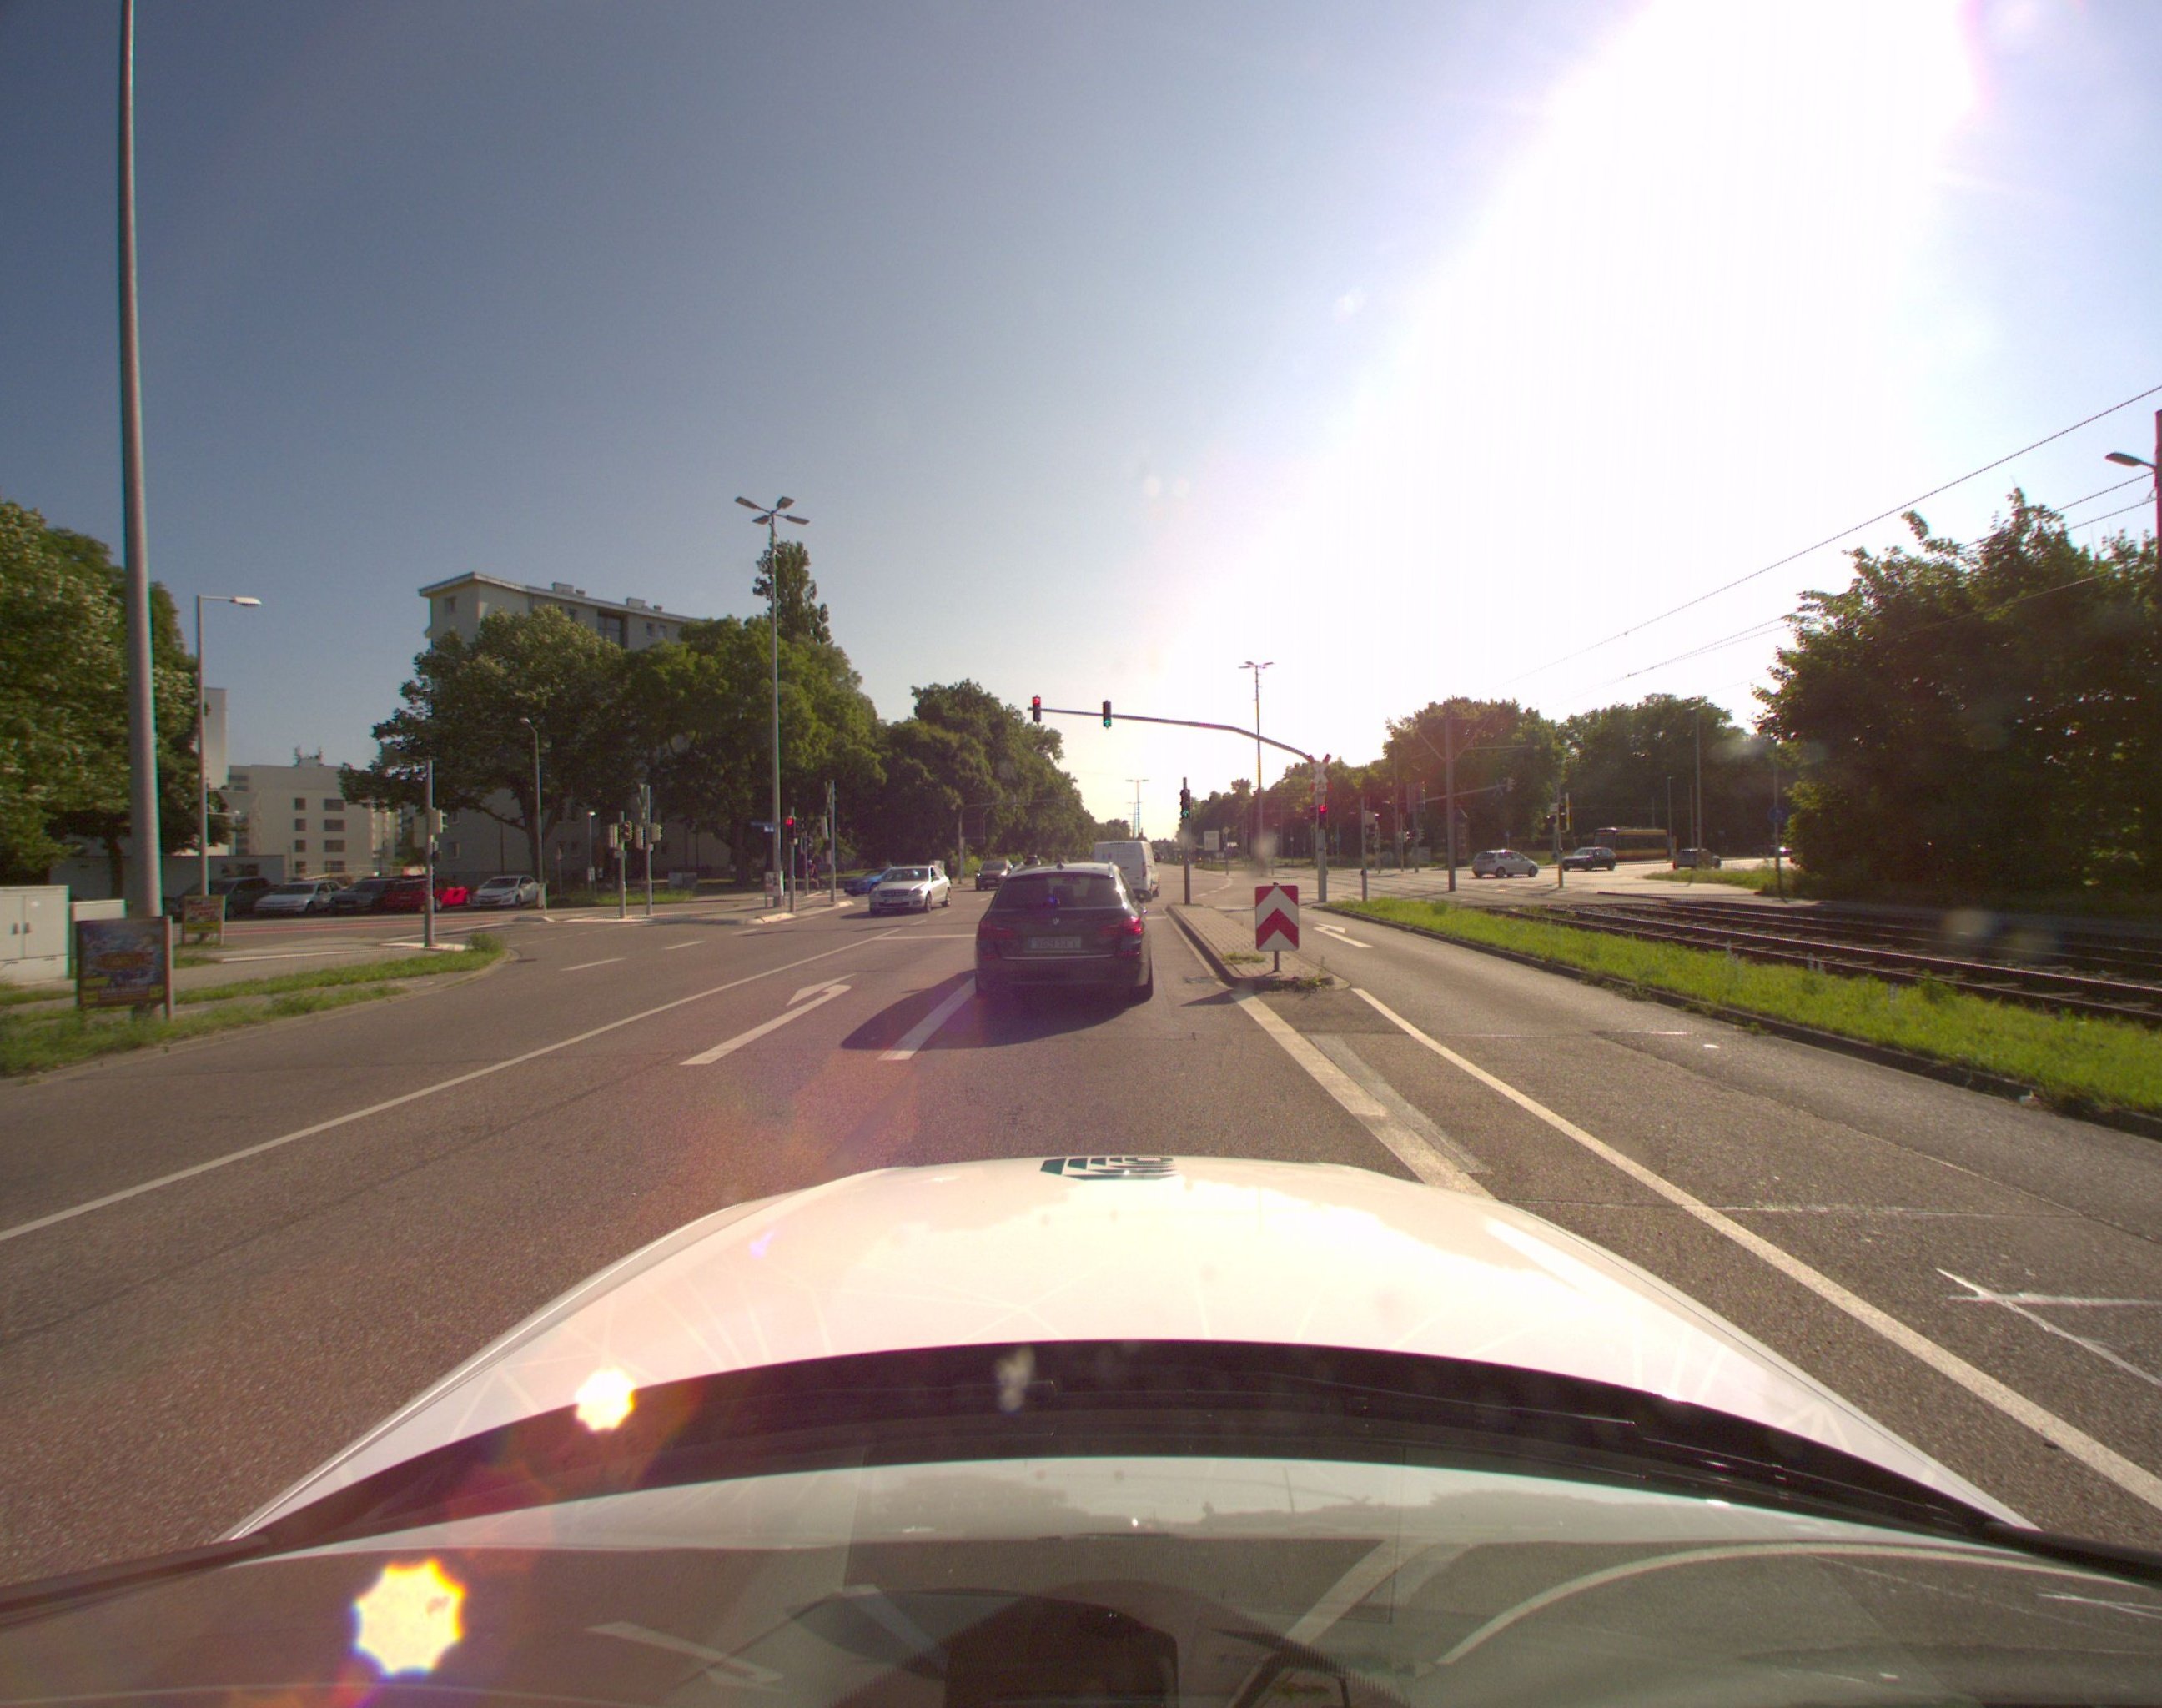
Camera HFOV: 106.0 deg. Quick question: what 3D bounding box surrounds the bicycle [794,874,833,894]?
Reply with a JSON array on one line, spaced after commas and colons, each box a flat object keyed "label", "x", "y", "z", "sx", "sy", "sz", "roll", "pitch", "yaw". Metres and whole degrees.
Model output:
[{"label": "bicycle", "x": -14.971, "y": 1.657, "z": 45.685, "sx": 0.613, "sy": 1.040, "sz": 2.085, "roll": -2, "pitch": 0, "yaw": 36}]

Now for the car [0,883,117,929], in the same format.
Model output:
[{"label": "car", "x": -44.393, "y": 2.184, "z": 34.826, "sx": 1.785, "sy": 1.477, "sz": 4.784, "roll": -1, "pitch": 2, "yaw": -19}]

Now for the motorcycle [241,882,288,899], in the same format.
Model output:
[{"label": "motorcycle", "x": -52.300, "y": 2.326, "z": 52.184, "sx": 0.520, "sy": 0.965, "sz": 2.057, "roll": -1, "pitch": 0, "yaw": 36}]

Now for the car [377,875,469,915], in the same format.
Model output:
[{"label": "car", "x": -30.865, "y": 1.901, "z": 38.352, "sx": 1.782, "sy": 1.415, "sz": 3.982, "roll": -1, "pitch": 3, "yaw": -14}]

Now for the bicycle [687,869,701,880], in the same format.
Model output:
[{"label": "bicycle", "x": -31.973, "y": 1.707, "z": 67.250, "sx": 0.678, "sy": 0.875, "sz": 2.460, "roll": -1, "pitch": 0, "yaw": -33}]

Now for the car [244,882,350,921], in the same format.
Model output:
[{"label": "car", "x": -35.442, "y": 2.114, "z": 36.961, "sx": 1.783, "sy": 1.521, "sz": 3.977, "roll": -1, "pitch": 0, "yaw": -16}]

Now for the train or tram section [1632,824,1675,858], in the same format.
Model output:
[{"label": "train or tram section", "x": 66.066, "y": -1.475, "z": 94.216, "sx": 3.015, "sy": 3.579, "sz": 12.307, "roll": -1, "pitch": 0, "yaw": 31}]

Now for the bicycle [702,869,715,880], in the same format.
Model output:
[{"label": "bicycle", "x": -31.062, "y": 1.690, "z": 67.840, "sx": 0.673, "sy": 0.919, "sz": 2.382, "roll": -1, "pitch": 0, "yaw": -33}]

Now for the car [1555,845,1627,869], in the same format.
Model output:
[{"label": "car", "x": 35.924, "y": 0.201, "z": 57.377, "sx": 4.871, "sy": 1.563, "sz": 2.027, "roll": -1, "pitch": 0, "yaw": -26}]

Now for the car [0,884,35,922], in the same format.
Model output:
[{"label": "car", "x": -46.106, "y": 2.184, "z": 33.272, "sx": 1.785, "sy": 1.476, "sz": 4.686, "roll": -1, "pitch": 3, "yaw": -19}]

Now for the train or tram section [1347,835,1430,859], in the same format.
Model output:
[{"label": "train or tram section", "x": 50.347, "y": -1.044, "z": 133.478, "sx": 12.278, "sy": 3.579, "sz": 3.073, "roll": -1, "pitch": 0, "yaw": 33}]

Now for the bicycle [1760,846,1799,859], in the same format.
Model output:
[{"label": "bicycle", "x": 78.469, "y": -0.174, "z": 91.504, "sx": 1.131, "sy": 1.454, "sz": 3.207, "roll": 0, "pitch": -1, "yaw": -20}]

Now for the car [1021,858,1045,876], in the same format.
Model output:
[{"label": "car", "x": -4.187, "y": 1.106, "z": 71.401, "sx": 1.783, "sy": 1.520, "sz": 3.999, "roll": -2, "pitch": 0, "yaw": 0}]

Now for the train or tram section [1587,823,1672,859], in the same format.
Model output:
[{"label": "train or tram section", "x": 57.528, "y": -1.356, "z": 85.248, "sx": 11.898, "sy": 3.579, "sz": 3.022, "roll": -1, "pitch": 0, "yaw": -34}]

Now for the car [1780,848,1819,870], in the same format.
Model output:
[{"label": "car", "x": 60.161, "y": 0.437, "z": 68.186, "sx": 4.644, "sy": 1.722, "sz": 1.630, "roll": 1, "pitch": -1, "yaw": -38}]

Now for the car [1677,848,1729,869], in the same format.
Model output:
[{"label": "car", "x": 43.660, "y": 0.334, "z": 57.146, "sx": 3.539, "sy": 1.383, "sz": 1.592, "roll": -1, "pitch": 0, "yaw": -29}]

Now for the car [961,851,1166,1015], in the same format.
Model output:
[{"label": "car", "x": -0.100, "y": 0.749, "z": 9.685, "sx": 1.896, "sy": 1.506, "sz": 4.066, "roll": -1, "pitch": 0, "yaw": 2}]

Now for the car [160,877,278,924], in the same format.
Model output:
[{"label": "car", "x": -38.087, "y": 2.005, "z": 36.127, "sx": 1.783, "sy": 1.811, "sz": 3.977, "roll": -1, "pitch": 0, "yaw": -16}]

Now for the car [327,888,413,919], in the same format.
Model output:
[{"label": "car", "x": -32.802, "y": 2.237, "z": 37.695, "sx": 1.463, "sy": 1.193, "sz": 3.767, "roll": -1, "pitch": 0, "yaw": -15}]

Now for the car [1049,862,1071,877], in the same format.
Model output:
[{"label": "car", "x": -2.459, "y": 1.794, "z": 97.444, "sx": 1.979, "sy": 1.659, "sz": 4.392, "roll": -1, "pitch": 0, "yaw": 6}]

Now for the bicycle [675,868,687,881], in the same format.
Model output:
[{"label": "bicycle", "x": -32.715, "y": 1.693, "z": 66.536, "sx": 0.615, "sy": 1.066, "sz": 1.896, "roll": 0, "pitch": -2, "yaw": -34}]

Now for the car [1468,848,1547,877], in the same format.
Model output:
[{"label": "car", "x": 25.236, "y": 0.480, "z": 48.176, "sx": 4.206, "sy": 1.563, "sz": 1.842, "roll": -1, "pitch": 0, "yaw": -22}]

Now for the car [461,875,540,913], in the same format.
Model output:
[{"label": "car", "x": -27.864, "y": 1.870, "z": 39.259, "sx": 1.783, "sy": 1.439, "sz": 3.980, "roll": -1, "pitch": 3, "yaw": -15}]

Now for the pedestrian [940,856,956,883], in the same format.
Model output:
[{"label": "pedestrian", "x": -8.905, "y": 1.036, "z": 54.556, "sx": 0.811, "sy": 1.752, "sz": 0.933, "roll": -1, "pitch": 0, "yaw": 7}]

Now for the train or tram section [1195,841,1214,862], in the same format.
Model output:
[{"label": "train or tram section", "x": 22.723, "y": -0.401, "z": 150.646, "sx": 2.782, "sy": 3.618, "sz": 12.976, "roll": -1, "pitch": -1, "yaw": 6}]

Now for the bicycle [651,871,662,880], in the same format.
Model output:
[{"label": "bicycle", "x": -34.342, "y": 1.740, "z": 65.845, "sx": 0.587, "sy": 0.708, "sz": 2.215, "roll": -1, "pitch": 0, "yaw": -33}]

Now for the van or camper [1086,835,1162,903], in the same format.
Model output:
[{"label": "van or camper", "x": 1.573, "y": 0.479, "z": 27.957, "sx": 1.981, "sy": 2.096, "sz": 4.611, "roll": -1, "pitch": 0, "yaw": 10}]

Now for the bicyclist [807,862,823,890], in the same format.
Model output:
[{"label": "bicyclist", "x": -14.947, "y": 1.248, "z": 45.716, "sx": 0.601, "sy": 1.560, "sz": 0.606, "roll": -2, "pitch": -1, "yaw": 36}]

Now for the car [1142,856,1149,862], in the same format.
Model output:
[{"label": "car", "x": 17.179, "y": 1.326, "z": 216.177, "sx": 1.785, "sy": 1.486, "sz": 3.904, "roll": -1, "pitch": 0, "yaw": 4}]

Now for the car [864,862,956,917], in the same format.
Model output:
[{"label": "car", "x": -5.317, "y": 1.063, "z": 25.860, "sx": 1.695, "sy": 1.465, "sz": 4.373, "roll": -3, "pitch": 0, "yaw": 3}]

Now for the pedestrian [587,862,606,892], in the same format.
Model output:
[{"label": "pedestrian", "x": -28.776, "y": 1.354, "z": 48.373, "sx": 0.619, "sy": 1.713, "sz": 0.707, "roll": -1, "pitch": 0, "yaw": 14}]

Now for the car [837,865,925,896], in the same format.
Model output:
[{"label": "car", "x": -10.120, "y": 1.338, "z": 41.495, "sx": 1.762, "sy": 1.414, "sz": 4.272, "roll": -1, "pitch": 0, "yaw": 35}]

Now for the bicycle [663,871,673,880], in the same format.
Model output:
[{"label": "bicycle", "x": -33.591, "y": 1.745, "z": 66.222, "sx": 0.508, "sy": 0.708, "sz": 2.094, "roll": -1, "pitch": 0, "yaw": -33}]

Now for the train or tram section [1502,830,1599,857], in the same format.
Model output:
[{"label": "train or tram section", "x": 67.296, "y": -1.431, "z": 117.202, "sx": 3.064, "sy": 3.579, "sz": 12.108, "roll": -1, "pitch": 0, "yaw": -31}]

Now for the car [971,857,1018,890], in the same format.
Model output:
[{"label": "car", "x": -4.485, "y": 0.979, "z": 42.757, "sx": 1.738, "sy": 1.562, "sz": 4.003, "roll": -3, "pitch": 0, "yaw": 3}]

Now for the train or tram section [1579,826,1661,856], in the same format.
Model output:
[{"label": "train or tram section", "x": 69.621, "y": -1.572, "z": 105.696, "sx": 3.031, "sy": 3.579, "sz": 12.240, "roll": -1, "pitch": 0, "yaw": 3}]

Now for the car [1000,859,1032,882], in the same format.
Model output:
[{"label": "car", "x": -4.465, "y": 1.098, "z": 56.507, "sx": 1.882, "sy": 1.474, "sz": 4.099, "roll": -2, "pitch": 0, "yaw": 0}]
